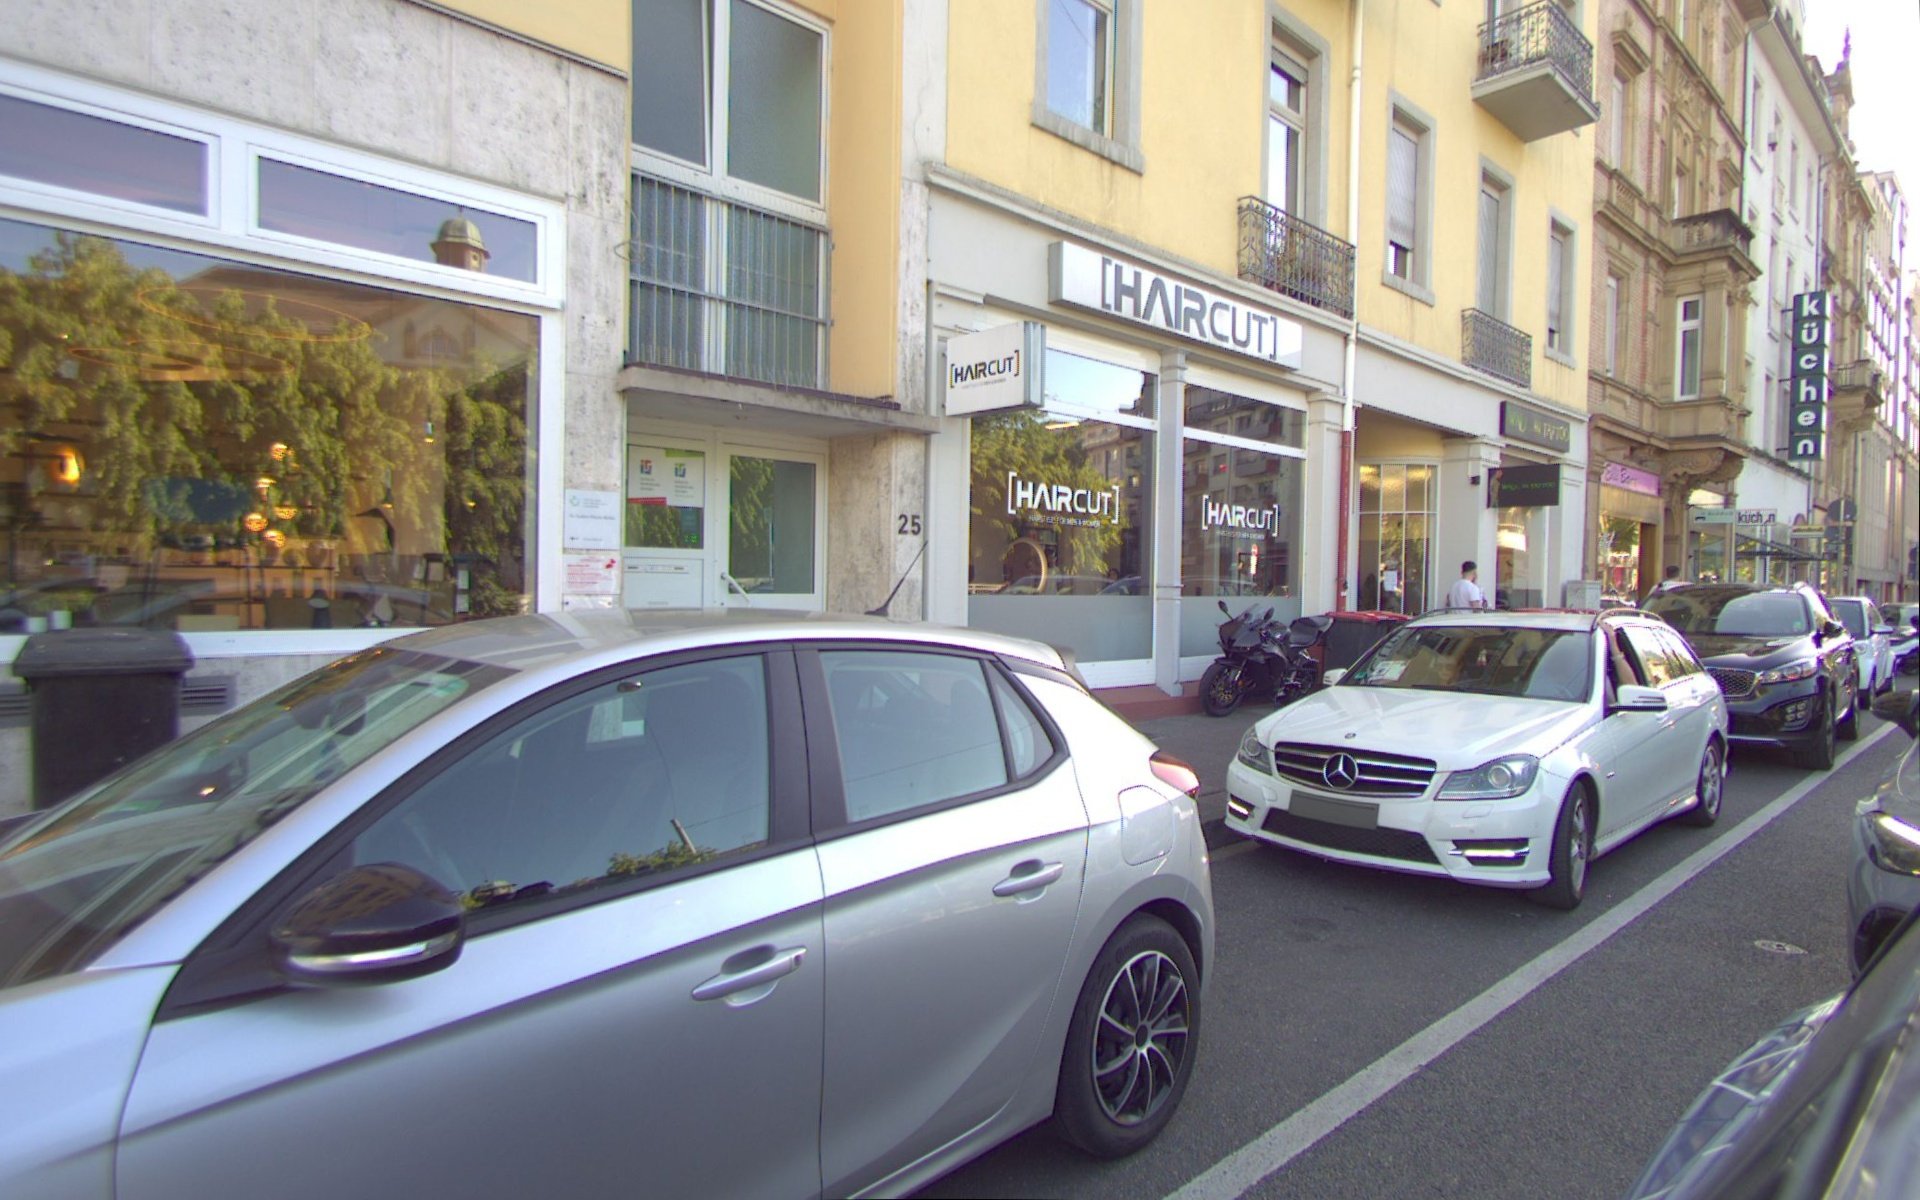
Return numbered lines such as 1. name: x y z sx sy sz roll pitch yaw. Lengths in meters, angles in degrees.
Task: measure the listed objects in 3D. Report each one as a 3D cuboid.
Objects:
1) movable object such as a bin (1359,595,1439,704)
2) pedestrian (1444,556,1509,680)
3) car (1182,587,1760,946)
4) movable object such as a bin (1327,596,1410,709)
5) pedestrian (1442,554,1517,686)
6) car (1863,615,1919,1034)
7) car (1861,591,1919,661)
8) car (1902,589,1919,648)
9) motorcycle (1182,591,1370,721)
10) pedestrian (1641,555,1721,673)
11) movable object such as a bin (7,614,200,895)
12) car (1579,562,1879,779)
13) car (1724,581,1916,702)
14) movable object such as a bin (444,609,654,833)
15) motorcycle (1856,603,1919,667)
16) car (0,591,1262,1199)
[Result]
1. movable object such as a bin: 5.153 0.562 11.891 0.633 1.222 0.647 0 0 -40
2. pedestrian: 7.026 0.235 13.774 0.631 1.637 0.572 0 0 -40
3. car: 3.469 0.675 6.388 4.519 1.480 1.757 0 1 -42
4. movable object such as a bin: 4.643 0.569 11.502 0.633 1.222 0.647 0 0 -40
5. pedestrian: 6.678 0.244 13.004 0.689 1.637 0.641 0 0 -42
6. car: 5.331 0.780 4.278 4.183 1.396 1.846 0 1 -42
7. car: 22.095 0.548 23.204 3.931 1.504 1.713 0 1 -42
8. car: 26.407 0.478 26.863 3.931 1.504 1.713 0 1 -42
9. motorcycle: 3.328 0.520 10.529 2.208 1.179 0.773 0 4 -41
10. pedestrian: 10.408 0.185 14.610 0.750 1.637 0.794 0 1 -43
11. movable object such as a bin: -3.682 0.597 4.376 0.591 1.041 0.812 0 1 -40
12. car: 8.012 0.531 10.350 1.853 1.719 4.623 1 1 45
13. car: 12.694 0.526 14.906 2.965 1.587 1.695 0 1 -40
14. movable object such as a bin: -2.248 0.600 5.536 0.878 1.066 0.752 0 1 -40
15. motorcycle: 19.294 0.705 20.520 1.514 1.248 0.771 1 0 1
16. car: -1.025 0.698 2.321 3.642 1.415 1.652 0 1 -42
